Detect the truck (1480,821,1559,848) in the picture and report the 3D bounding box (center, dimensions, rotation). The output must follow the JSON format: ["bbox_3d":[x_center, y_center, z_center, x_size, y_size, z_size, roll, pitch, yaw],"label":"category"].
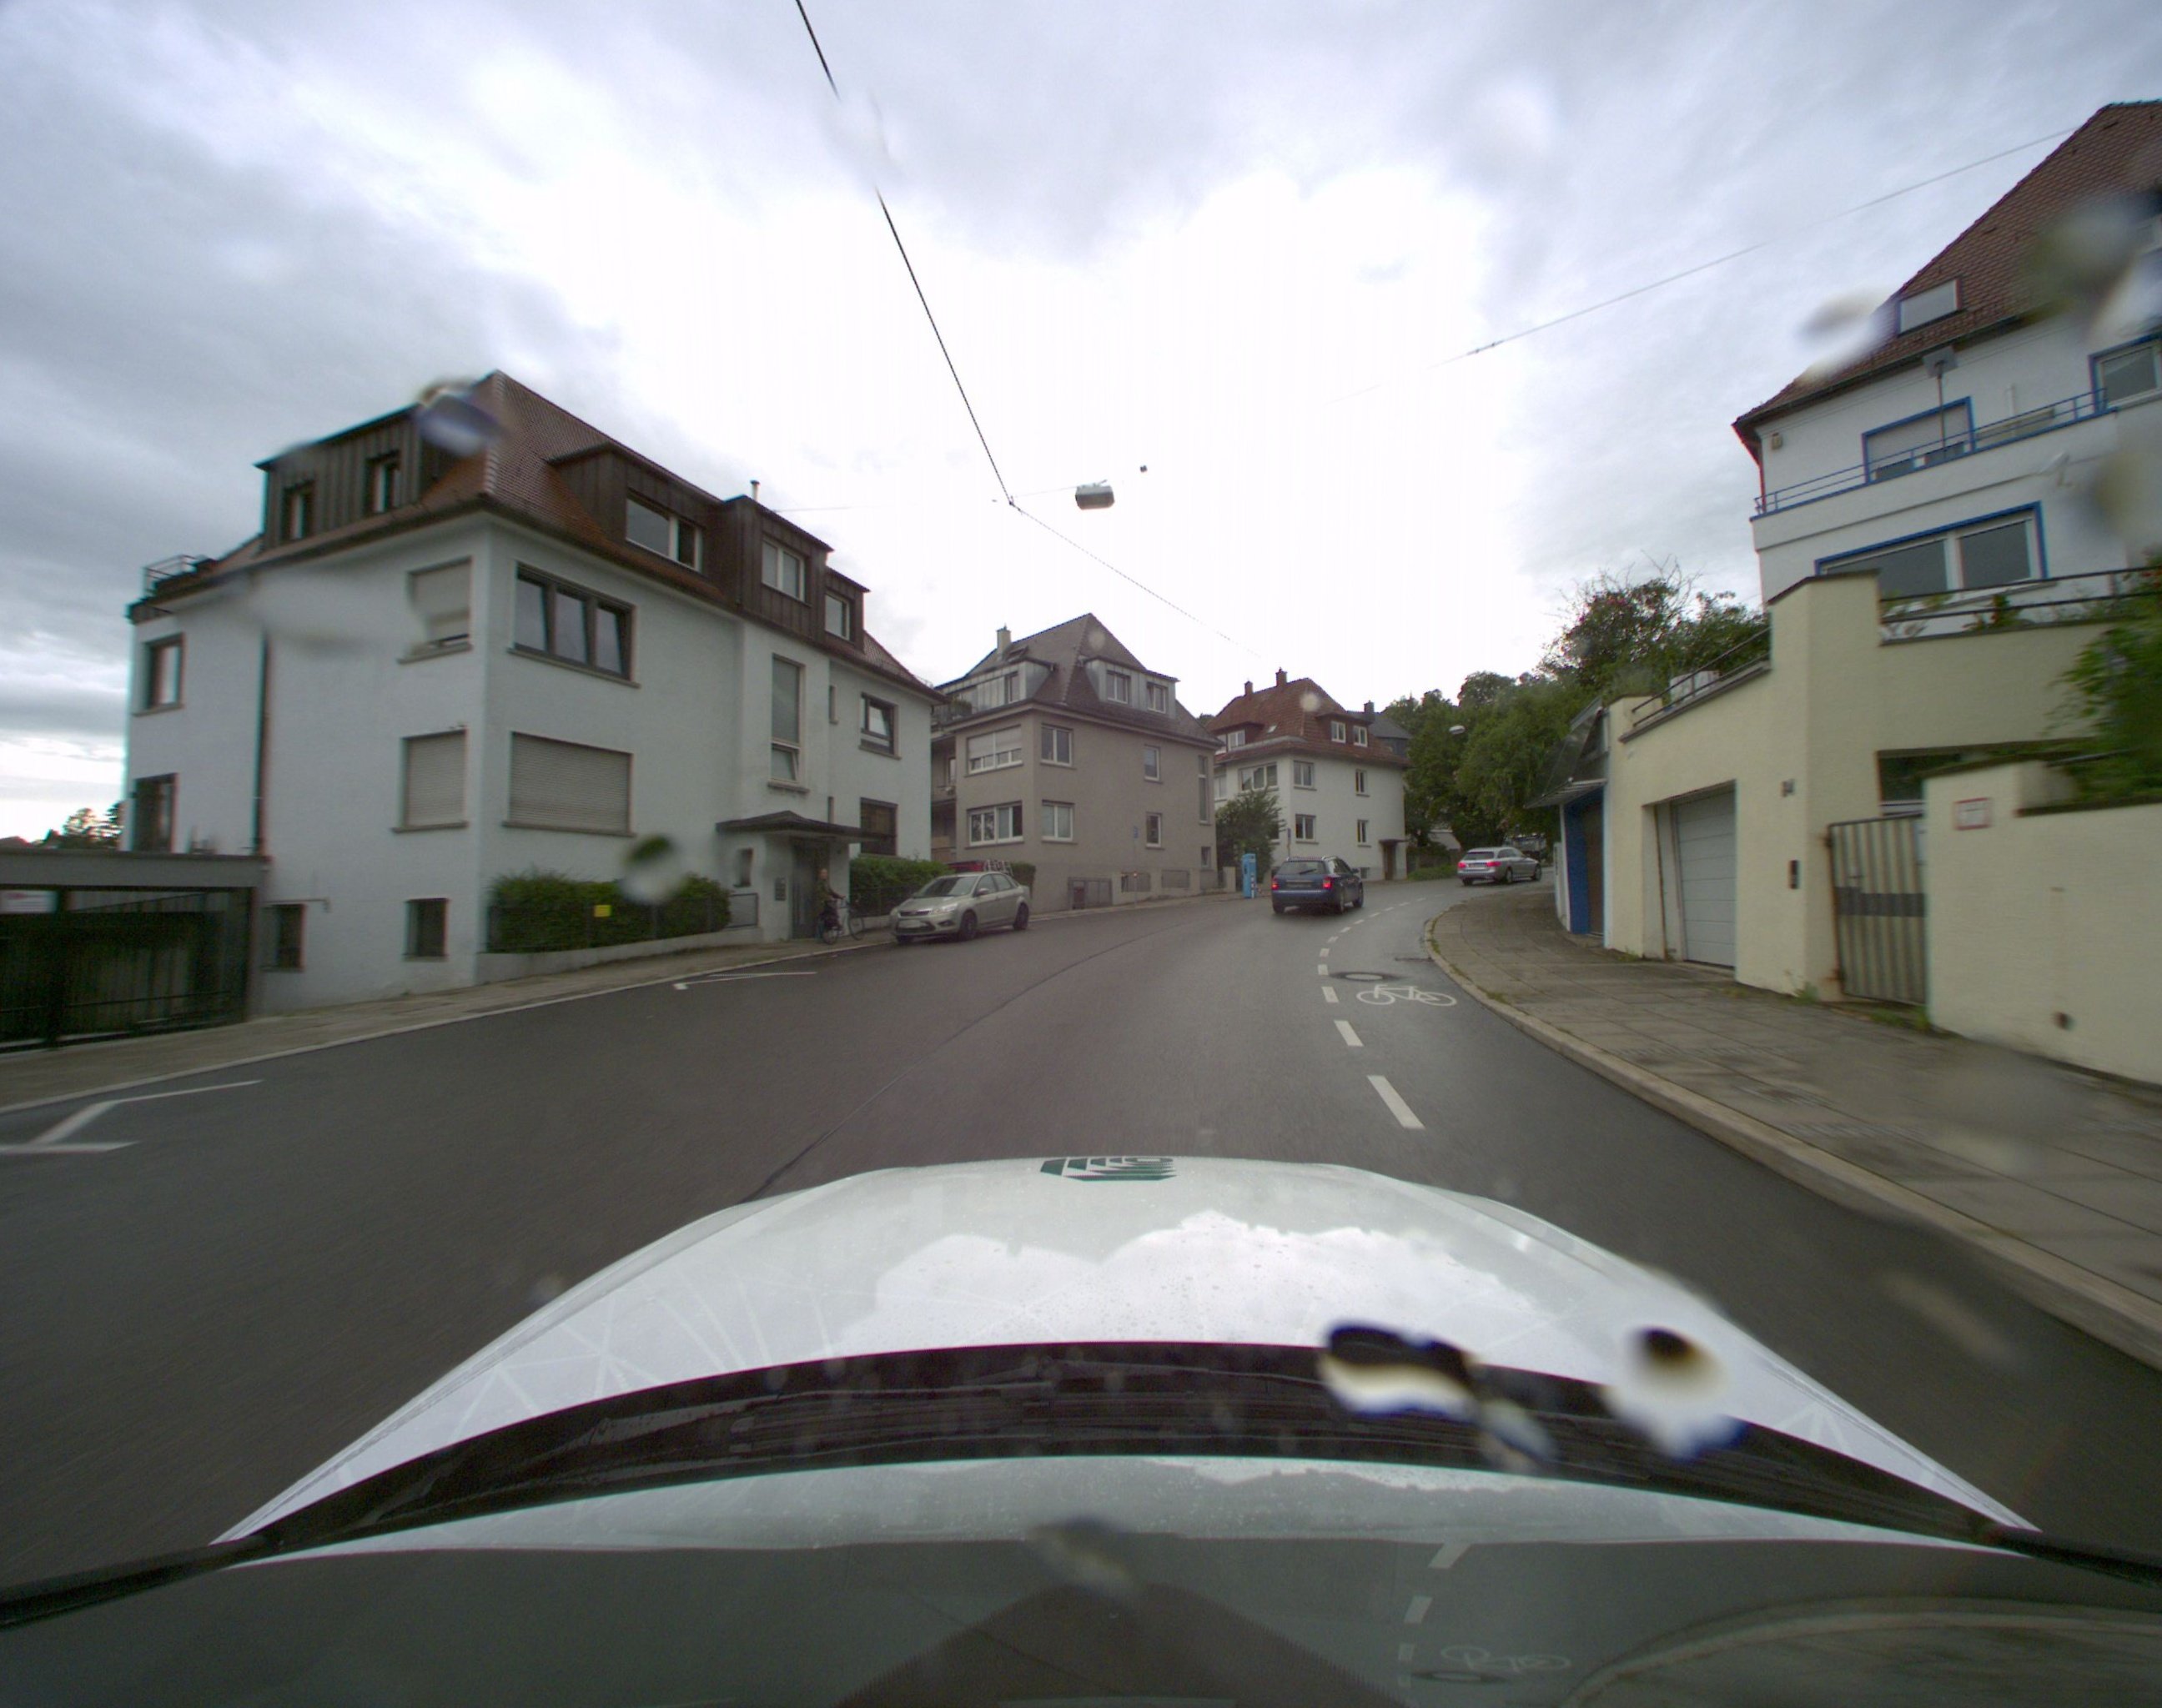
[{"bbox_3d":[41.276,-1.800,76.884,2.314,2.269,6.767,-1,0,-18],"label":"truck"}]

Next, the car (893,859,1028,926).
[{"bbox_3d":[-4.105,1.305,27.671,3.949,1.823,2.012,-7,-3,27],"label":"car"}]

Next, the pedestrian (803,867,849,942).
[{"bbox_3d":[-5.631,1.103,18.016,0.488,1.577,0.952,-2,0,18],"label":"pedestrian"}]

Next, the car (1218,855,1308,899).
[{"bbox_3d":[9.539,1.239,43.025,2.009,1.624,4.206,-2,-9,-36],"label":"car"}]

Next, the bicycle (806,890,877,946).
[{"bbox_3d":[-5.197,1.369,17.824,0.452,1.067,1.930,-2,0,18],"label":"bicycle"}]

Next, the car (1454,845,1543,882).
[{"bbox_3d":[16.807,0.359,32.722,4.021,1.360,1.795,-2,0,-41],"label":"car"}]

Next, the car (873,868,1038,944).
[{"bbox_3d":[-2.740,1.132,18.904,1.820,1.425,4.252,-4,-1,21],"label":"car"}]

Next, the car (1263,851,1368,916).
[{"bbox_3d":[6.288,0.688,21.515,1.794,1.439,4.107,1,2,29],"label":"car"}]
